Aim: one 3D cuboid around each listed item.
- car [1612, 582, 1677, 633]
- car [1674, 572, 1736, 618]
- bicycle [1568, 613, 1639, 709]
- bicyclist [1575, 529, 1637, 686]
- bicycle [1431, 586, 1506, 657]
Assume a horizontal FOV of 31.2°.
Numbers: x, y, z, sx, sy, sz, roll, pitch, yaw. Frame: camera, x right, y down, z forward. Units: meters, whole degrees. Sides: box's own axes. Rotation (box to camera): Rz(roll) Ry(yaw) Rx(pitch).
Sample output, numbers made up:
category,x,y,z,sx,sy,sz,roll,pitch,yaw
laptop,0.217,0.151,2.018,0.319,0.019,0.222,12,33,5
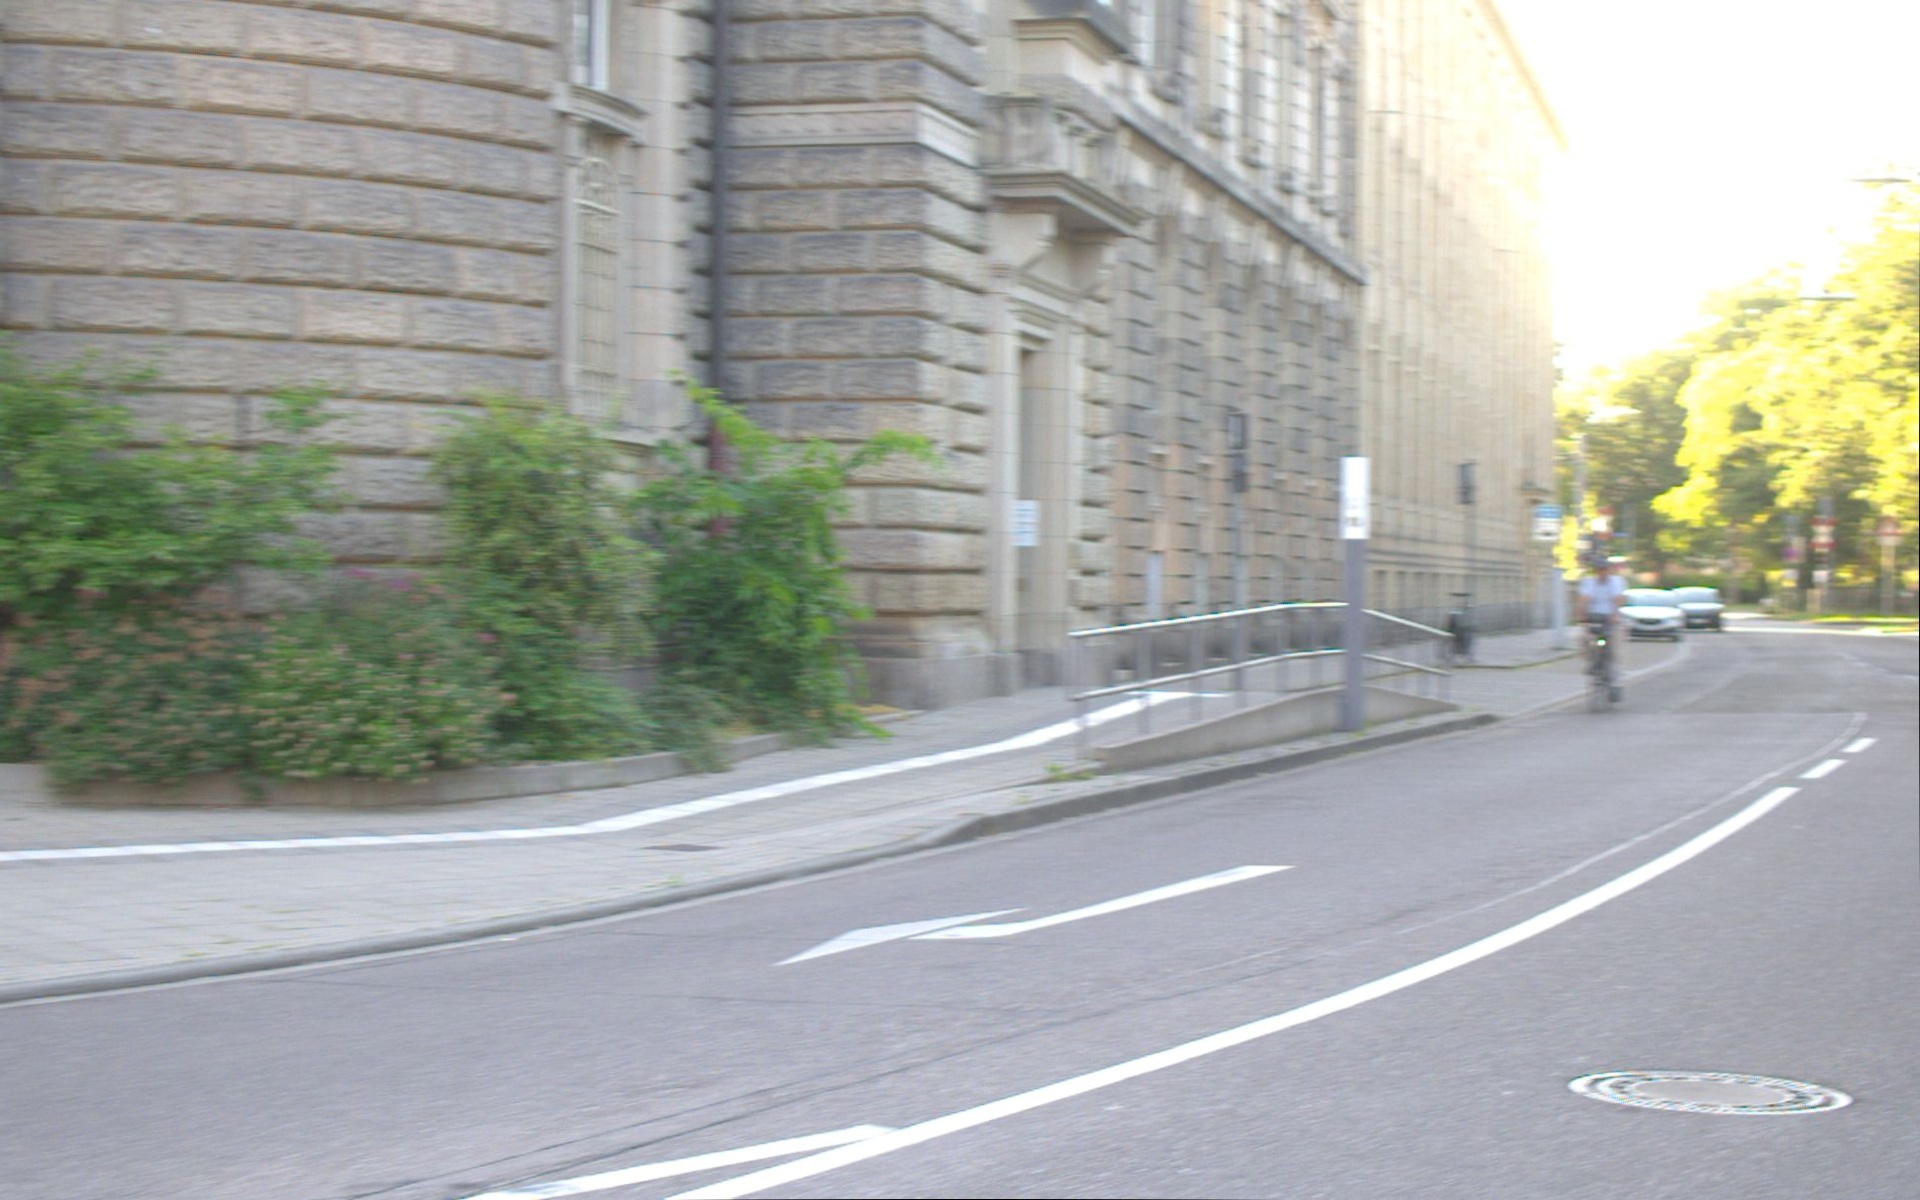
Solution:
category,x,y,z,sx,sy,sz,roll,pitch,yaw
car,19.414,0.194,97.559,1.728,1.392,4.371,1,0,10
car,24.726,-0.173,114.210,1.879,1.461,4.371,1,1,10
bicycle,7.466,0.692,39.817,0.663,1.066,2.152,0,0,15
bicyclist,7.510,0.085,39.952,0.645,1.801,0.780,0,0,15
bicycle,8.222,0.337,55.539,0.853,1.098,1.980,3,1,17
